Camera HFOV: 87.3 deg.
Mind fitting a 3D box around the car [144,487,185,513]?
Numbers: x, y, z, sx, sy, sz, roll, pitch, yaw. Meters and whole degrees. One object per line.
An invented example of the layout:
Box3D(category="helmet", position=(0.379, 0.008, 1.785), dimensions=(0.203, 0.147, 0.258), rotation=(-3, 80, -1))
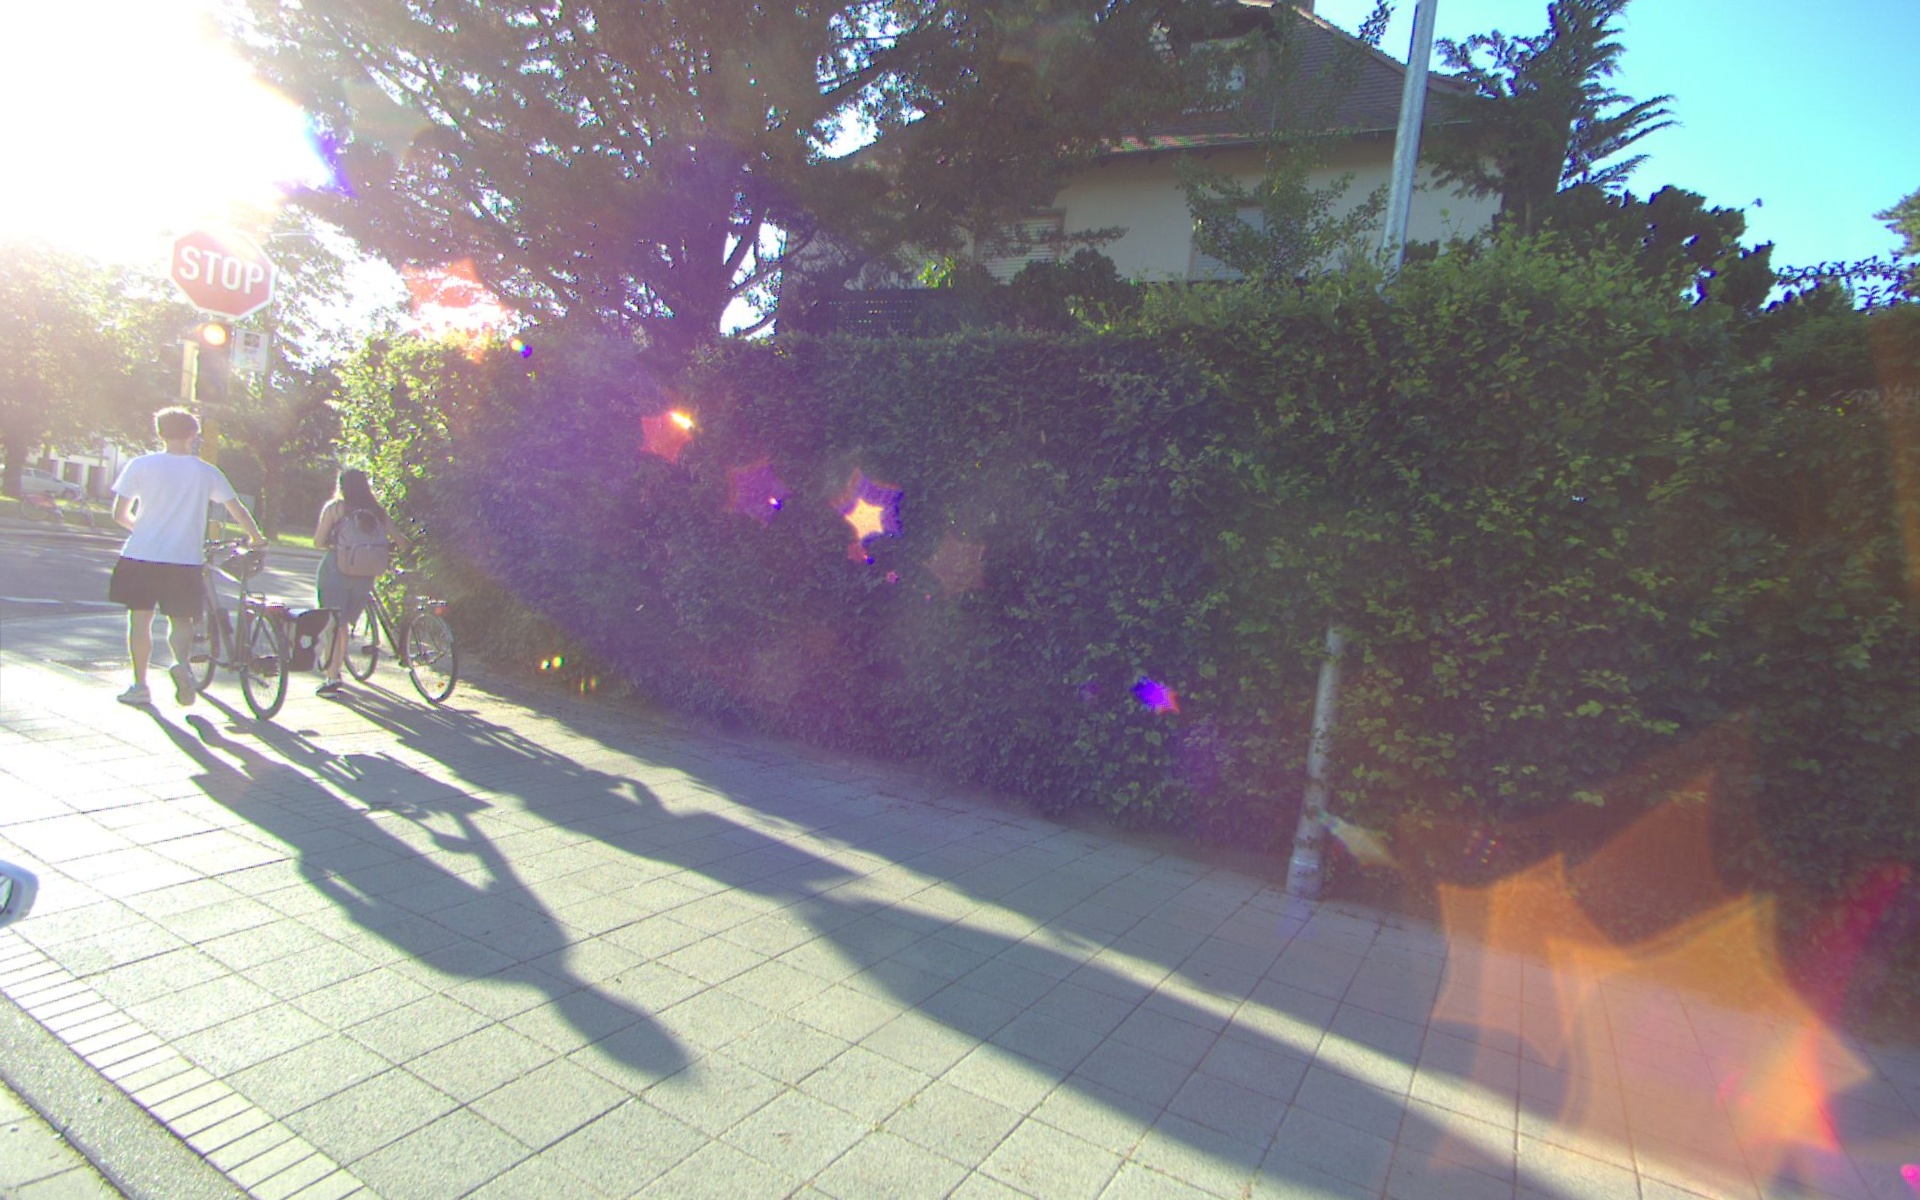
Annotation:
Box3D(category="car", position=(-55.406, -6.958, 70.132), dimensions=(1.651, 1.435, 3.514), rotation=(7, 0, -30))

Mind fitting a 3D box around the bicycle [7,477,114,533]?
Box3D(category="bicycle", position=(-23.820, -2.499, 26.671), dimensions=(0.609, 1.146, 1.956), rotation=(8, 1, 32))

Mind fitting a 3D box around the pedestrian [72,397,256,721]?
Box3D(category="pedestrian", position=(-5.051, -0.273, 6.373), dimensions=(0.868, 1.892, 0.669), rotation=(9, 6, 36))

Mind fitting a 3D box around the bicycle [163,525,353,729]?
Box3D(category="bicycle", position=(-4.771, 0.137, 6.785), dimensions=(1.763, 1.112, 0.486), rotation=(9, 4, 37))

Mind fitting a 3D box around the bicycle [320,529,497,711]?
Box3D(category="bicycle", position=(-4.223, 0.117, 7.656), dimensions=(1.573, 1.158, 0.486), rotation=(8, 4, 35))

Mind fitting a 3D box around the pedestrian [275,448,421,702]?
Box3D(category="pedestrian", position=(-4.465, -0.185, 7.341), dimensions=(0.613, 1.733, 0.668), rotation=(9, 6, 37))

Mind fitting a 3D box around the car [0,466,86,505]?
Box3D(category="car", position=(-47.012, -5.836, 50.877), dimensions=(1.569, 1.445, 3.854), rotation=(8, 0, 26))
